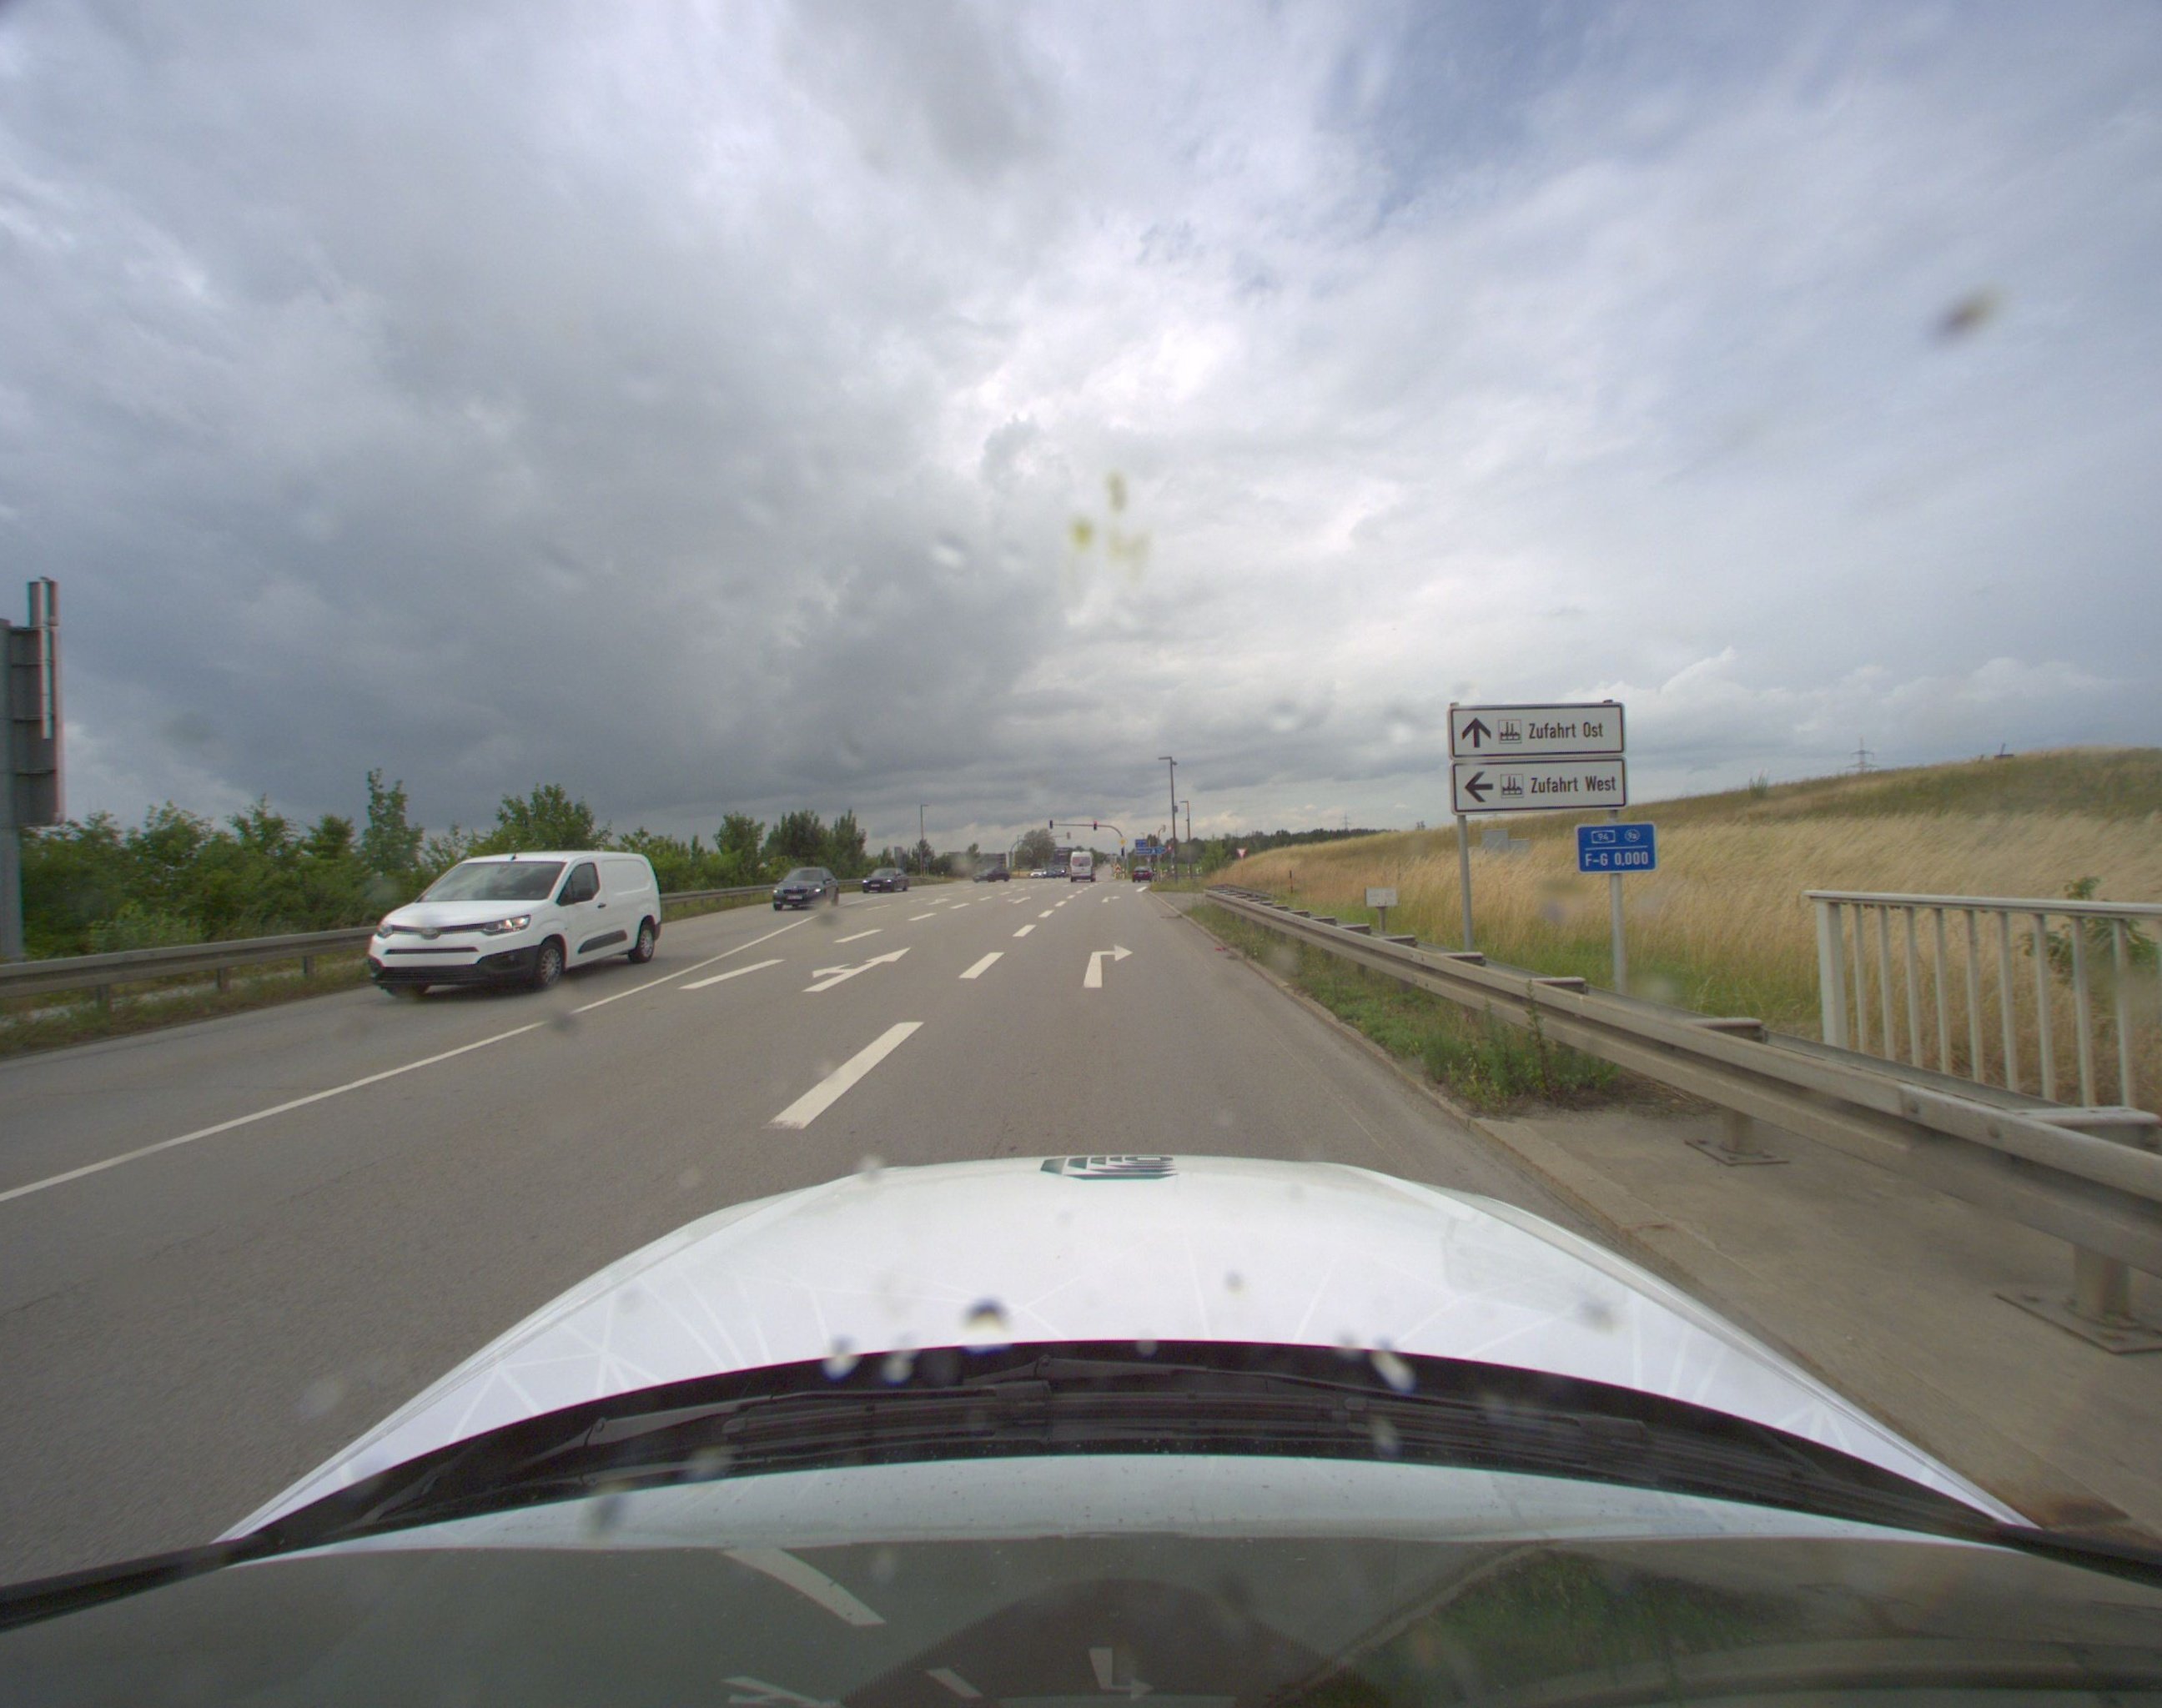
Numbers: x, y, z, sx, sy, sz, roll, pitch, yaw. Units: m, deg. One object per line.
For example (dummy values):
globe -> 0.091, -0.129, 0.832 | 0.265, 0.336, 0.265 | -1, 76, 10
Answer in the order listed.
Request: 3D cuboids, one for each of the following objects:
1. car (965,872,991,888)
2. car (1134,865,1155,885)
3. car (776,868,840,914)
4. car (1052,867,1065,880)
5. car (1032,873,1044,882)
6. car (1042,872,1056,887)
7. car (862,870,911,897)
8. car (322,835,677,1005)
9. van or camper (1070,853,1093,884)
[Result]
car -> -10.064, 2.545, 79.858 | 1.837, 1.425, 3.911 | -2, -2, 3
car -> 5.284, 1.725, 67.653 | 1.510, 1.485, 3.623 | -2, -1, 7
car -> -10.135, 1.319, 30.467 | 1.582, 1.557, 4.133 | -1, -1, -9
car -> -3.356, 2.934, 124.307 | 1.631, 1.852, 3.751 | -2, -1, 3
car -> -6.713, 3.763, 128.465 | 1.474, 1.282, 3.536 | -2, -1, 3
car -> -4.265, 3.386, 108.398 | 1.635, 1.852, 3.741 | -2, -1, -5
car -> -11.599, 1.728, 48.866 | 1.803, 1.368, 4.784 | -2, 0, 0
car -> -7.706, 0.768, 11.562 | 1.951, 1.875, 4.810 | -1, -1, -6
van or camper -> 0.053, 1.213, 70.463 | 1.869, 2.581, 4.002 | 0, -1, 2
